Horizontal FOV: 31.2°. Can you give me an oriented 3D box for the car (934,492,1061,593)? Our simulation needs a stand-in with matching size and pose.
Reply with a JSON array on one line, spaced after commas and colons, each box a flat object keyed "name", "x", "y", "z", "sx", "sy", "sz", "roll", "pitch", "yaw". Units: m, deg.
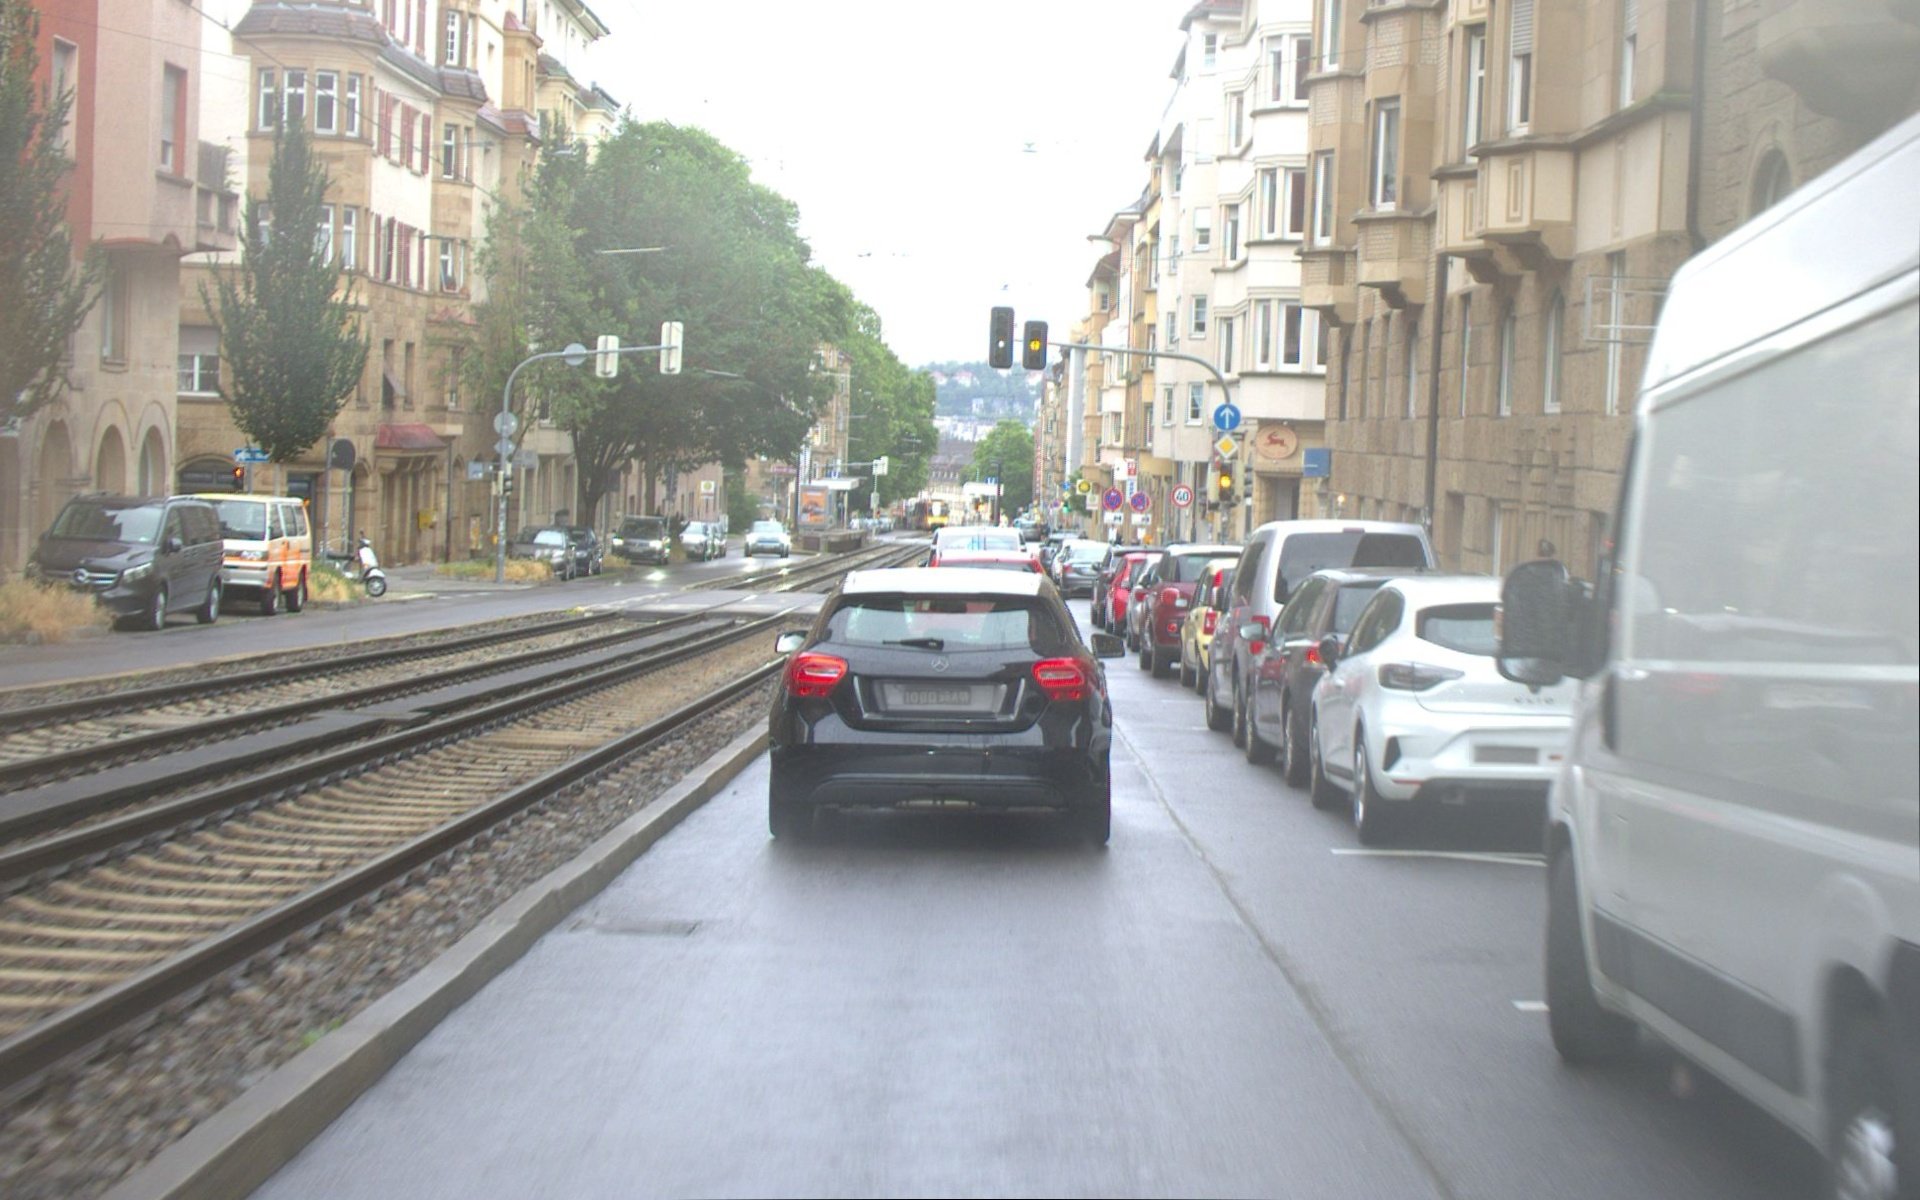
[{"name": "car", "x": 0.703, "y": -1.041, "z": 61.090, "sx": 1.922, "sy": 1.649, "sz": 4.000, "roll": 2, "pitch": 2, "yaw": 5}]

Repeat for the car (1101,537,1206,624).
[{"name": "car", "x": 3.382, "y": -0.367, "z": 60.613, "sx": 1.602, "sy": 1.414, "sz": 3.149, "roll": 2, "pitch": 2, "yaw": -1}]

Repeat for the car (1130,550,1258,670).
[{"name": "car", "x": 3.362, "y": 0.115, "z": 49.956, "sx": 1.638, "sy": 1.537, "sz": 3.466, "roll": 3, "pitch": 2, "yaw": 1}]

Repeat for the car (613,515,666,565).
[{"name": "car", "x": -11.403, "y": -2.141, "z": 122.368, "sx": 1.789, "sy": 1.685, "sz": 4.001, "roll": 2, "pitch": 1, "yaw": -5}]

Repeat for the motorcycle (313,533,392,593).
[{"name": "motorcycle", "x": -12.012, "y": -0.738, "z": 67.981, "sx": 1.439, "sy": 1.130, "sz": 0.619, "roll": 3, "pitch": 1, "yaw": 31}]

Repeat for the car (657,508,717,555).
[{"name": "car", "x": -11.086, "y": -2.803, "z": 139.740, "sx": 1.993, "sy": 1.787, "sz": 4.000, "roll": 2, "pitch": 2, "yaw": 1}]

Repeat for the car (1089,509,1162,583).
[{"name": "car", "x": 4.651, "y": -1.513, "z": 97.215, "sx": 1.898, "sy": 2.021, "sz": 4.176, "roll": 1, "pitch": 1, "yaw": 1}]

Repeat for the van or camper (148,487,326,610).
[{"name": "van or camper", "x": -12.036, "y": -0.883, "z": 57.527, "sx": 1.993, "sy": 1.895, "sz": 4.699, "roll": 2, "pitch": 1, "yaw": -1}]

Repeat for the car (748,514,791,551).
[{"name": "car", "x": -8.499, "y": -3.016, "z": 153.317, "sx": 1.795, "sy": 1.543, "sz": 4.001, "roll": 3, "pitch": 1, "yaw": -3}]

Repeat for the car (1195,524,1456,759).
[{"name": "car", "x": 3.001, "y": 0.277, "z": 29.023, "sx": 1.774, "sy": 1.770, "sz": 4.361, "roll": 1, "pitch": 2, "yaw": 1}]

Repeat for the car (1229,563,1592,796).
[{"name": "car", "x": 3.072, "y": 0.494, "z": 24.255, "sx": 1.993, "sy": 1.436, "sz": 4.000, "roll": 1, "pitch": 1, "yaw": 0}]

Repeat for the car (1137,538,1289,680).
[{"name": "car", "x": 3.179, "y": 0.072, "z": 43.757, "sx": 1.711, "sy": 1.623, "sz": 4.000, "roll": 2, "pitch": 2, "yaw": 2}]

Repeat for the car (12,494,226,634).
[{"name": "car", "x": -12.072, "y": -0.551, "z": 49.631, "sx": 1.993, "sy": 1.895, "sz": 4.699, "roll": 1, "pitch": 1, "yaw": -1}]

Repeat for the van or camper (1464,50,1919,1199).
[{"name": "van or camper", "x": 2.693, "y": 0.263, "z": 8.391, "sx": 2.064, "sy": 2.460, "sz": 6.119, "roll": 1, "pitch": 1, "yaw": 1}]

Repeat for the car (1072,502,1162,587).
[{"name": "car", "x": 2.986, "y": -1.091, "z": 65.969, "sx": 1.549, "sy": 1.503, "sz": 4.000, "roll": 2, "pitch": 2, "yaw": 1}]

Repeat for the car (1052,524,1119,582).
[{"name": "car", "x": 3.971, "y": -1.484, "z": 109.254, "sx": 1.768, "sy": 1.769, "sz": 4.000, "roll": 1, "pitch": 1, "yaw": -3}]

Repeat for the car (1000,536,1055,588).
[{"name": "car", "x": 2.378, "y": -1.334, "z": 121.027, "sx": 1.853, "sy": 1.791, "sz": 3.812, "roll": 1, "pitch": 1, "yaw": 1}]

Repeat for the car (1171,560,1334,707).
[{"name": "car", "x": 3.286, "y": 0.348, "z": 39.118, "sx": 1.559, "sy": 1.473, "sz": 3.461, "roll": 2, "pitch": 2, "yaw": 1}]

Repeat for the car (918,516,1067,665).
[{"name": "car", "x": 0.387, "y": -0.149, "z": 38.638, "sx": 1.536, "sy": 1.505, "sz": 4.000, "roll": 2, "pitch": 2, "yaw": 1}]

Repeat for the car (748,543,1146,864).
[{"name": "car", "x": -0.075, "y": 0.484, "z": 18.865, "sx": 1.946, "sy": 1.559, "sz": 3.643, "roll": 1, "pitch": 1, "yaw": 0}]

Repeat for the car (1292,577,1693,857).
[{"name": "car", "x": 2.941, "y": 0.591, "z": 19.751, "sx": 1.676, "sy": 1.406, "sz": 4.000, "roll": 0, "pitch": 1, "yaw": 0}]
